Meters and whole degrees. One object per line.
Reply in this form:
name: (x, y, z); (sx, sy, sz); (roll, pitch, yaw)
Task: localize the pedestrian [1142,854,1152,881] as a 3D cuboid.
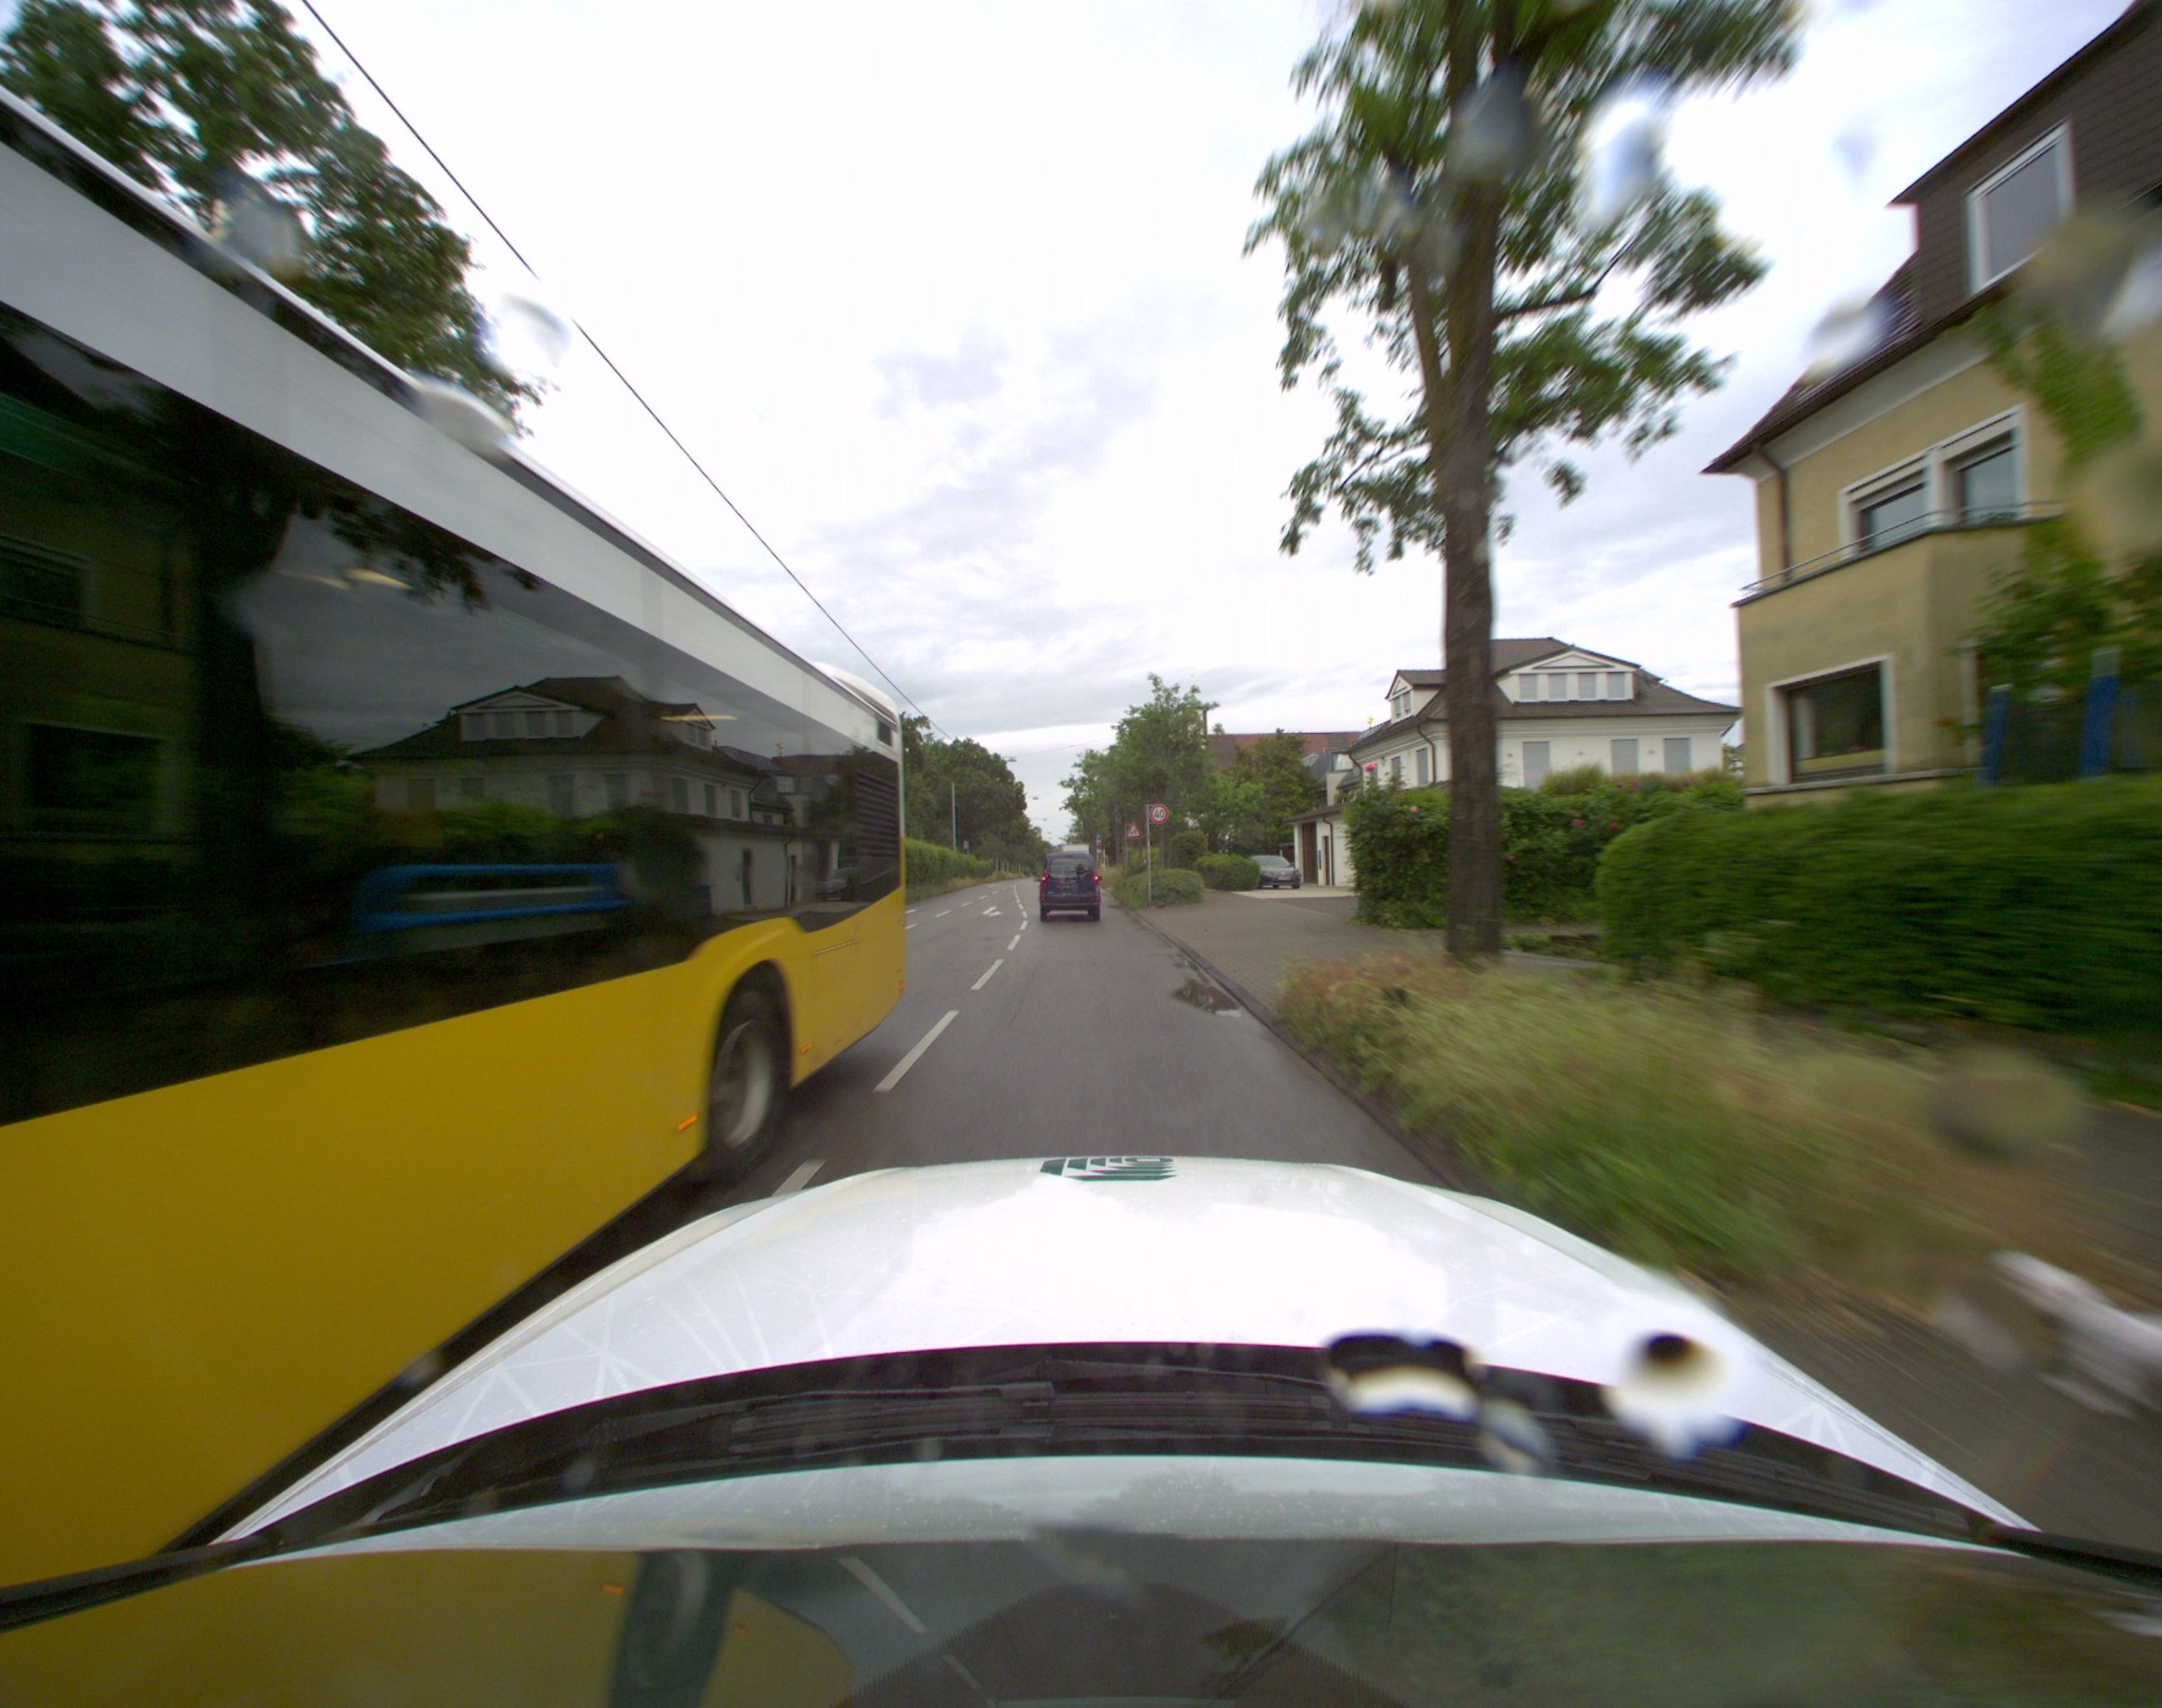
pedestrian: (4.156, 0.847, 51.524); (0.558, 1.708, 0.517); (-2, -1, 7)

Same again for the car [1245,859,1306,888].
car: (8.246, 0.805, 34.922); (1.824, 1.176, 4.002); (-1, -1, 2)

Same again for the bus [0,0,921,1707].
bus: (-2.893, -0.008, 3.308); (2.585, 3.158, 8.637); (-1, -1, 1)

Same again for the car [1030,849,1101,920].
car: (-0.379, 0.816, 23.074); (1.803, 1.797, 4.000); (-2, -1, 0)

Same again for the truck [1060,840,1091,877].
truck: (-0.595, 0.496, 80.310); (2.725, 3.387, 6.678); (-2, -1, -3)
